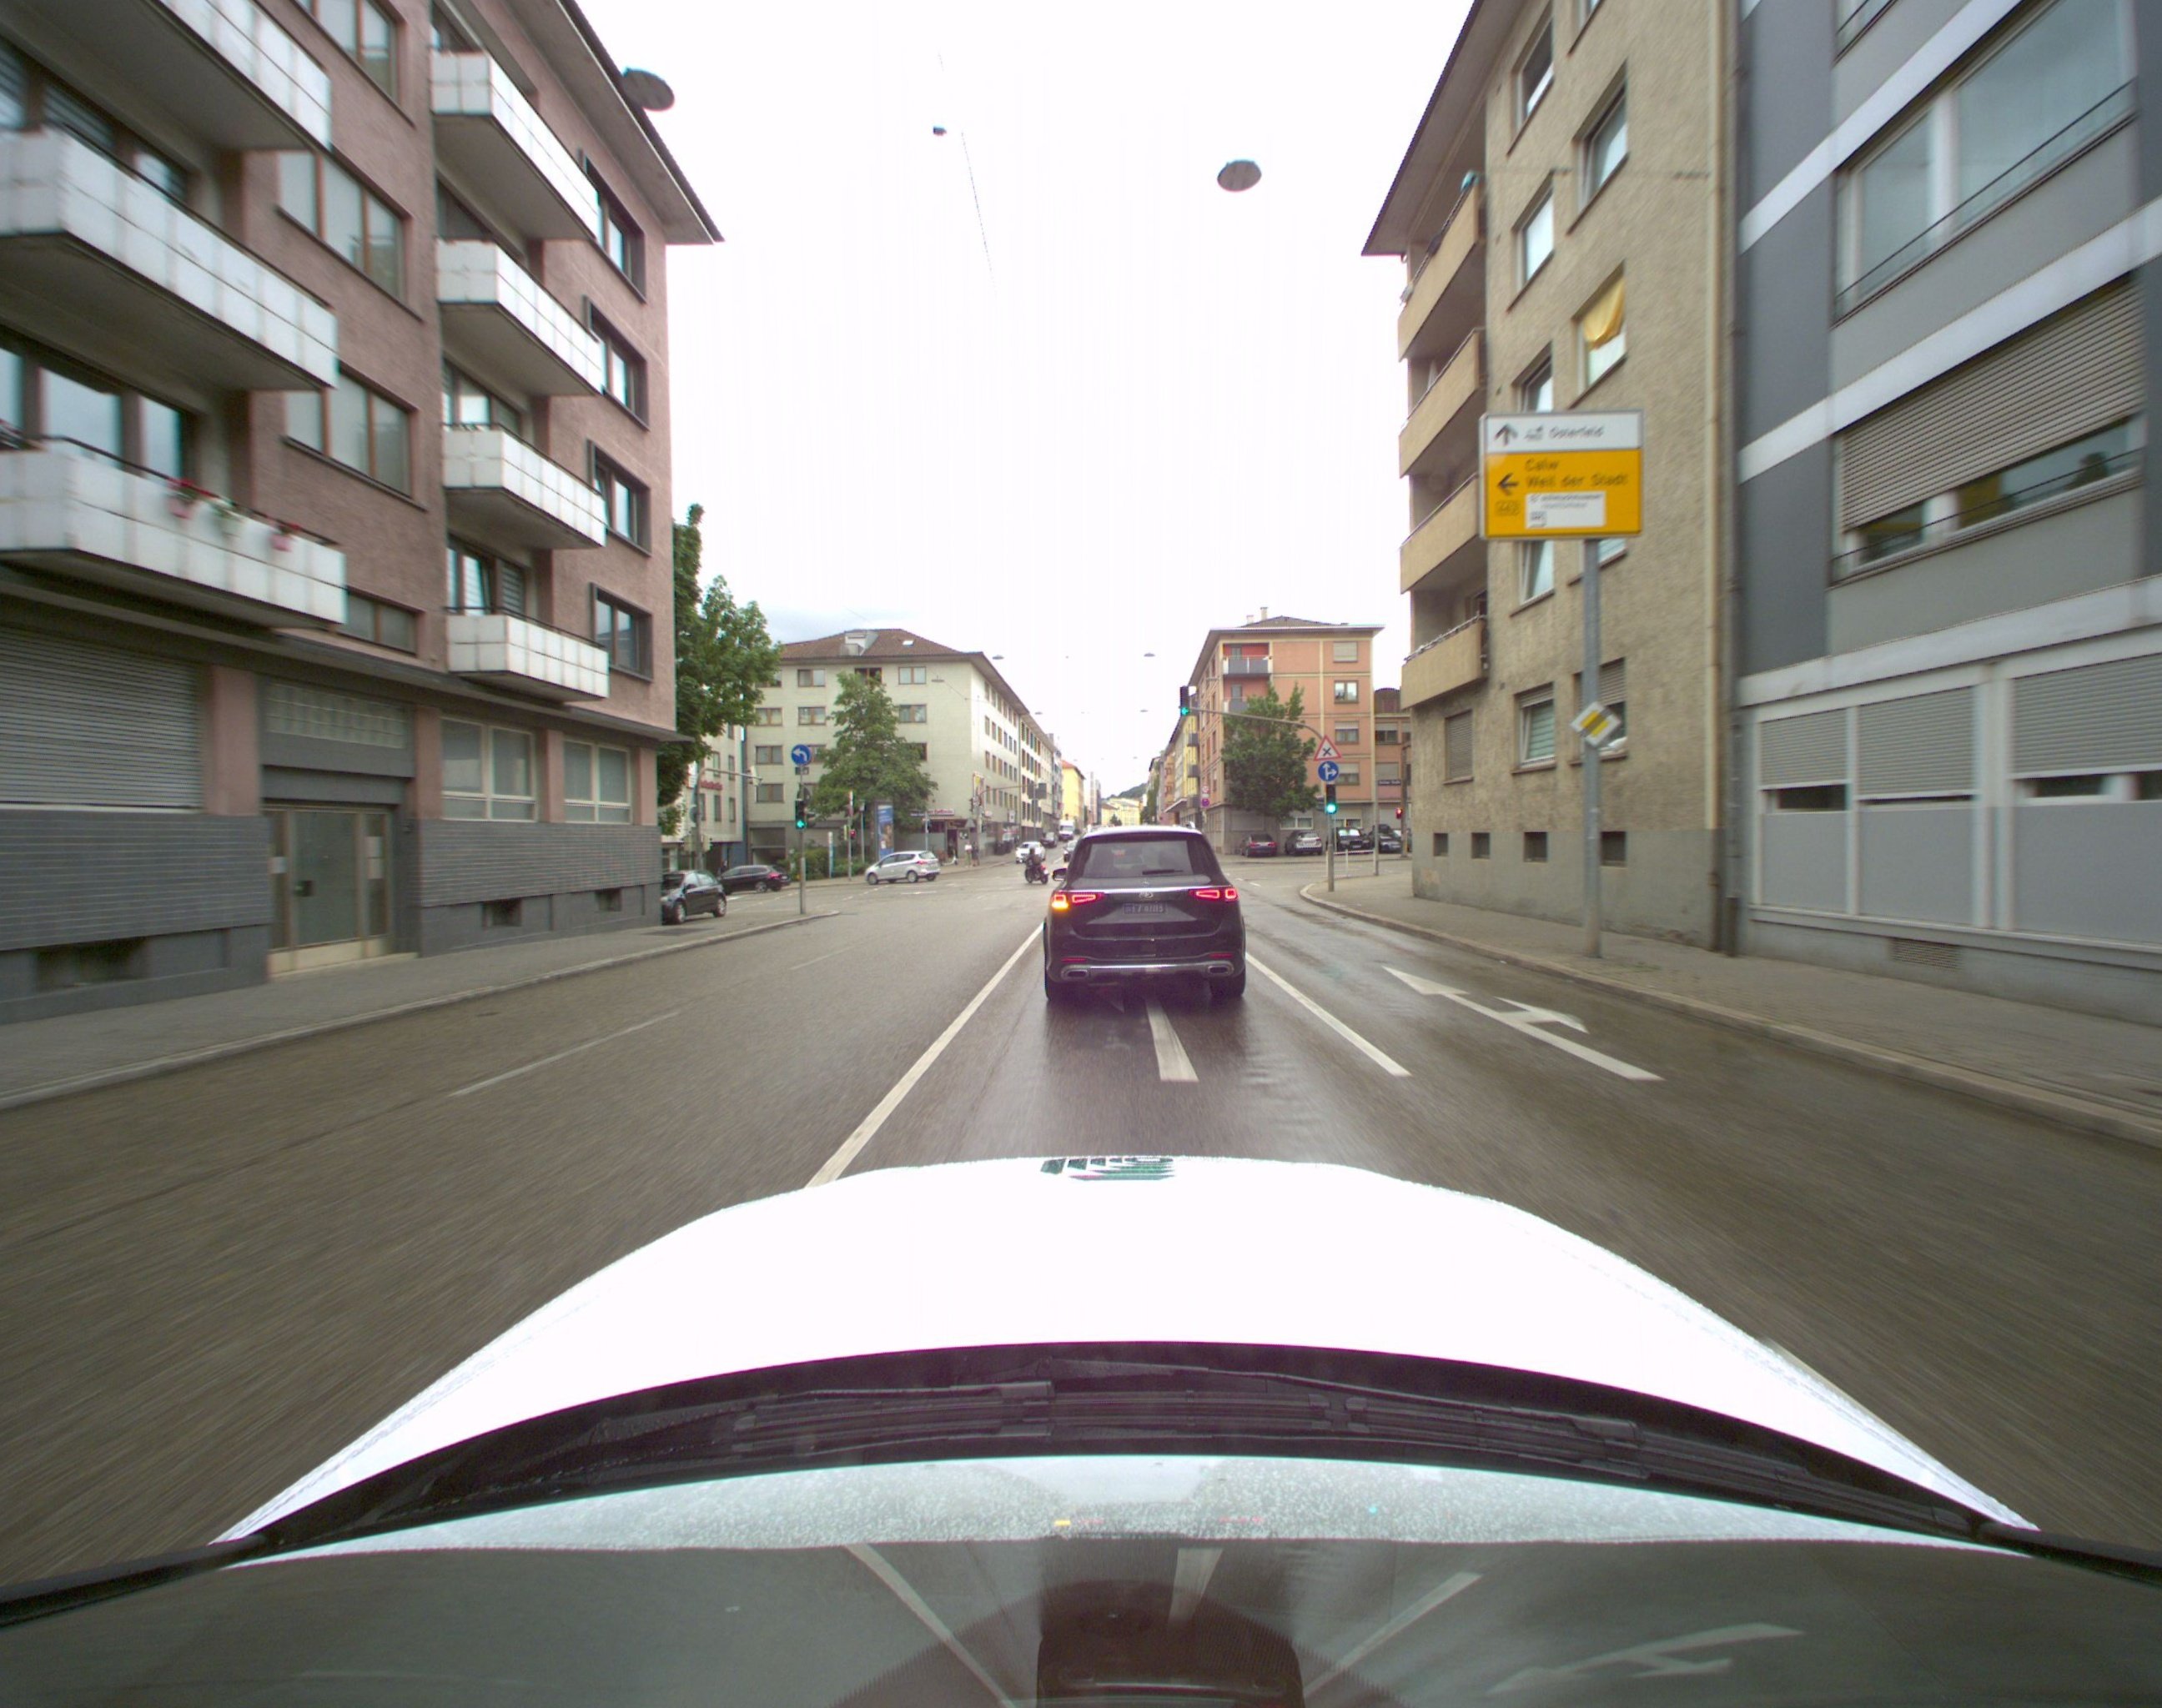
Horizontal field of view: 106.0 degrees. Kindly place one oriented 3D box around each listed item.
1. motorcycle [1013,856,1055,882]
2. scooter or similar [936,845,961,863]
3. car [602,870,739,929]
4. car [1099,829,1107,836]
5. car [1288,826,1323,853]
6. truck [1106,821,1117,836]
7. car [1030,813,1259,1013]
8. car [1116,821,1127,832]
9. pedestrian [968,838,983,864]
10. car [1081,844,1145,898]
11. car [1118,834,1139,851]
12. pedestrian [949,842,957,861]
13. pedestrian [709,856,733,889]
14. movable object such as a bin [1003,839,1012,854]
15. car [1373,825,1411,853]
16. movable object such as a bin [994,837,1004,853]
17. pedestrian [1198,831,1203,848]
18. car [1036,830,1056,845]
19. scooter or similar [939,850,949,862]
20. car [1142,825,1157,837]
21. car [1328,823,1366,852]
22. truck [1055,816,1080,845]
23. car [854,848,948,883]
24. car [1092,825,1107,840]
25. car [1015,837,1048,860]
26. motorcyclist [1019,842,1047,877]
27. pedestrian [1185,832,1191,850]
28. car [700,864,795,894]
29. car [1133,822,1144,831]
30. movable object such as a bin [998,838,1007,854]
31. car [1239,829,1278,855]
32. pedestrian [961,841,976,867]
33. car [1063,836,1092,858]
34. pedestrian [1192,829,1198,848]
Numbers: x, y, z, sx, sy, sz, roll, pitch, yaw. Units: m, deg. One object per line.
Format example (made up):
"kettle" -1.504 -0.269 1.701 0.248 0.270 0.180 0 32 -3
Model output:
"motorcycle" -2.024 0.625 34.826 0.867 1.006 2.231 -2 1 -28
"scooter or similar" -8.884 0.026 54.556 1.565 1.190 0.497 0 0 -27
"car" -11.569 1.229 23.271 1.726 1.360 4.001 -4 0 1
"car" 5.724 -5.483 208.866 1.836 1.673 4.005 -2 1 4
"car" 14.481 -0.961 52.732 1.973 1.660 4.015 -2 1 13
"truck" 8.635 -7.105 228.932 2.794 3.832 8.155 0 0 5
"car" 0.596 0.525 9.699 2.014 1.739 4.747 -2 0 0
"car" 7.042 -4.788 142.095 1.836 1.673 4.005 -2 1 4
"pedestrian" -6.959 -0.222 53.848 0.713 1.646 0.751 -2 4 -34
"car" 0.976 0.488 27.198 1.825 1.461 4.378 -4 2 -1
"car" 4.392 -1.064 75.389 1.836 1.489 4.004 -2 1 3
"pedestrian" -9.585 -0.214 60.854 0.517 1.400 0.578 0 0 -1
"pedestrian" -20.664 1.033 46.779 0.906 1.817 0.760 0 4 31
"movable object such as a bin" -6.573 -0.693 72.424 0.694 1.315 0.783 0 0 2
"car" 19.817 -0.970 51.855 1.777 1.698 4.025 0 1 28
"movable object such as a bin" -6.825 -0.729 67.718 0.694 1.315 0.783 0 0 2
"pedestrian" 10.241 -1.229 69.951 0.362 1.398 0.370 0 4 3
"car" -3.855 -1.811 90.182 1.717 1.603 4.003 -2 1 2
"scooter or similar" -9.492 0.117 56.405 0.460 0.843 1.313 0 0 -20
"car" 10.013 -3.363 118.699 2.006 1.562 5.163 0 0 6
"car" 17.013 -1.073 52.258 1.972 1.719 4.016 -2 1 14
"truck" -1.850 -3.245 114.891 2.794 3.832 8.155 0 0 5
"car" -9.184 0.585 41.524 4.211 1.599 2.039 -2 1 23
"car" 2.898 -3.301 126.715 2.055 2.241 4.625 -2 1 4
"car" -3.550 -0.424 59.094 1.836 1.512 4.004 -3 1 3
"motorcyclist" -2.046 0.216 34.781 0.910 1.452 0.740 -2 1 -29
"pedestrian" 9.628 -1.188 73.446 0.518 1.538 0.570 0 4 3
"car" -17.300 1.292 42.337 4.236 1.453 1.726 -1 0 6
"car" 10.612 -5.000 150.557 2.006 1.562 4.006 0 0 5
"movable object such as a bin" -6.724 -0.671 69.687 0.694 1.315 0.783 0 0 2
"car" 11.573 -0.792 53.343 1.835 1.554 4.802 -2 1 5
"pedestrian" -7.329 -0.008 52.992 0.713 1.646 0.751 -2 4 -34
"car" -0.237 -0.537 59.697 1.836 1.489 4.004 -3 1 3
"pedestrian" 9.778 -1.321 69.880 0.477 1.565 0.558 0 4 3
